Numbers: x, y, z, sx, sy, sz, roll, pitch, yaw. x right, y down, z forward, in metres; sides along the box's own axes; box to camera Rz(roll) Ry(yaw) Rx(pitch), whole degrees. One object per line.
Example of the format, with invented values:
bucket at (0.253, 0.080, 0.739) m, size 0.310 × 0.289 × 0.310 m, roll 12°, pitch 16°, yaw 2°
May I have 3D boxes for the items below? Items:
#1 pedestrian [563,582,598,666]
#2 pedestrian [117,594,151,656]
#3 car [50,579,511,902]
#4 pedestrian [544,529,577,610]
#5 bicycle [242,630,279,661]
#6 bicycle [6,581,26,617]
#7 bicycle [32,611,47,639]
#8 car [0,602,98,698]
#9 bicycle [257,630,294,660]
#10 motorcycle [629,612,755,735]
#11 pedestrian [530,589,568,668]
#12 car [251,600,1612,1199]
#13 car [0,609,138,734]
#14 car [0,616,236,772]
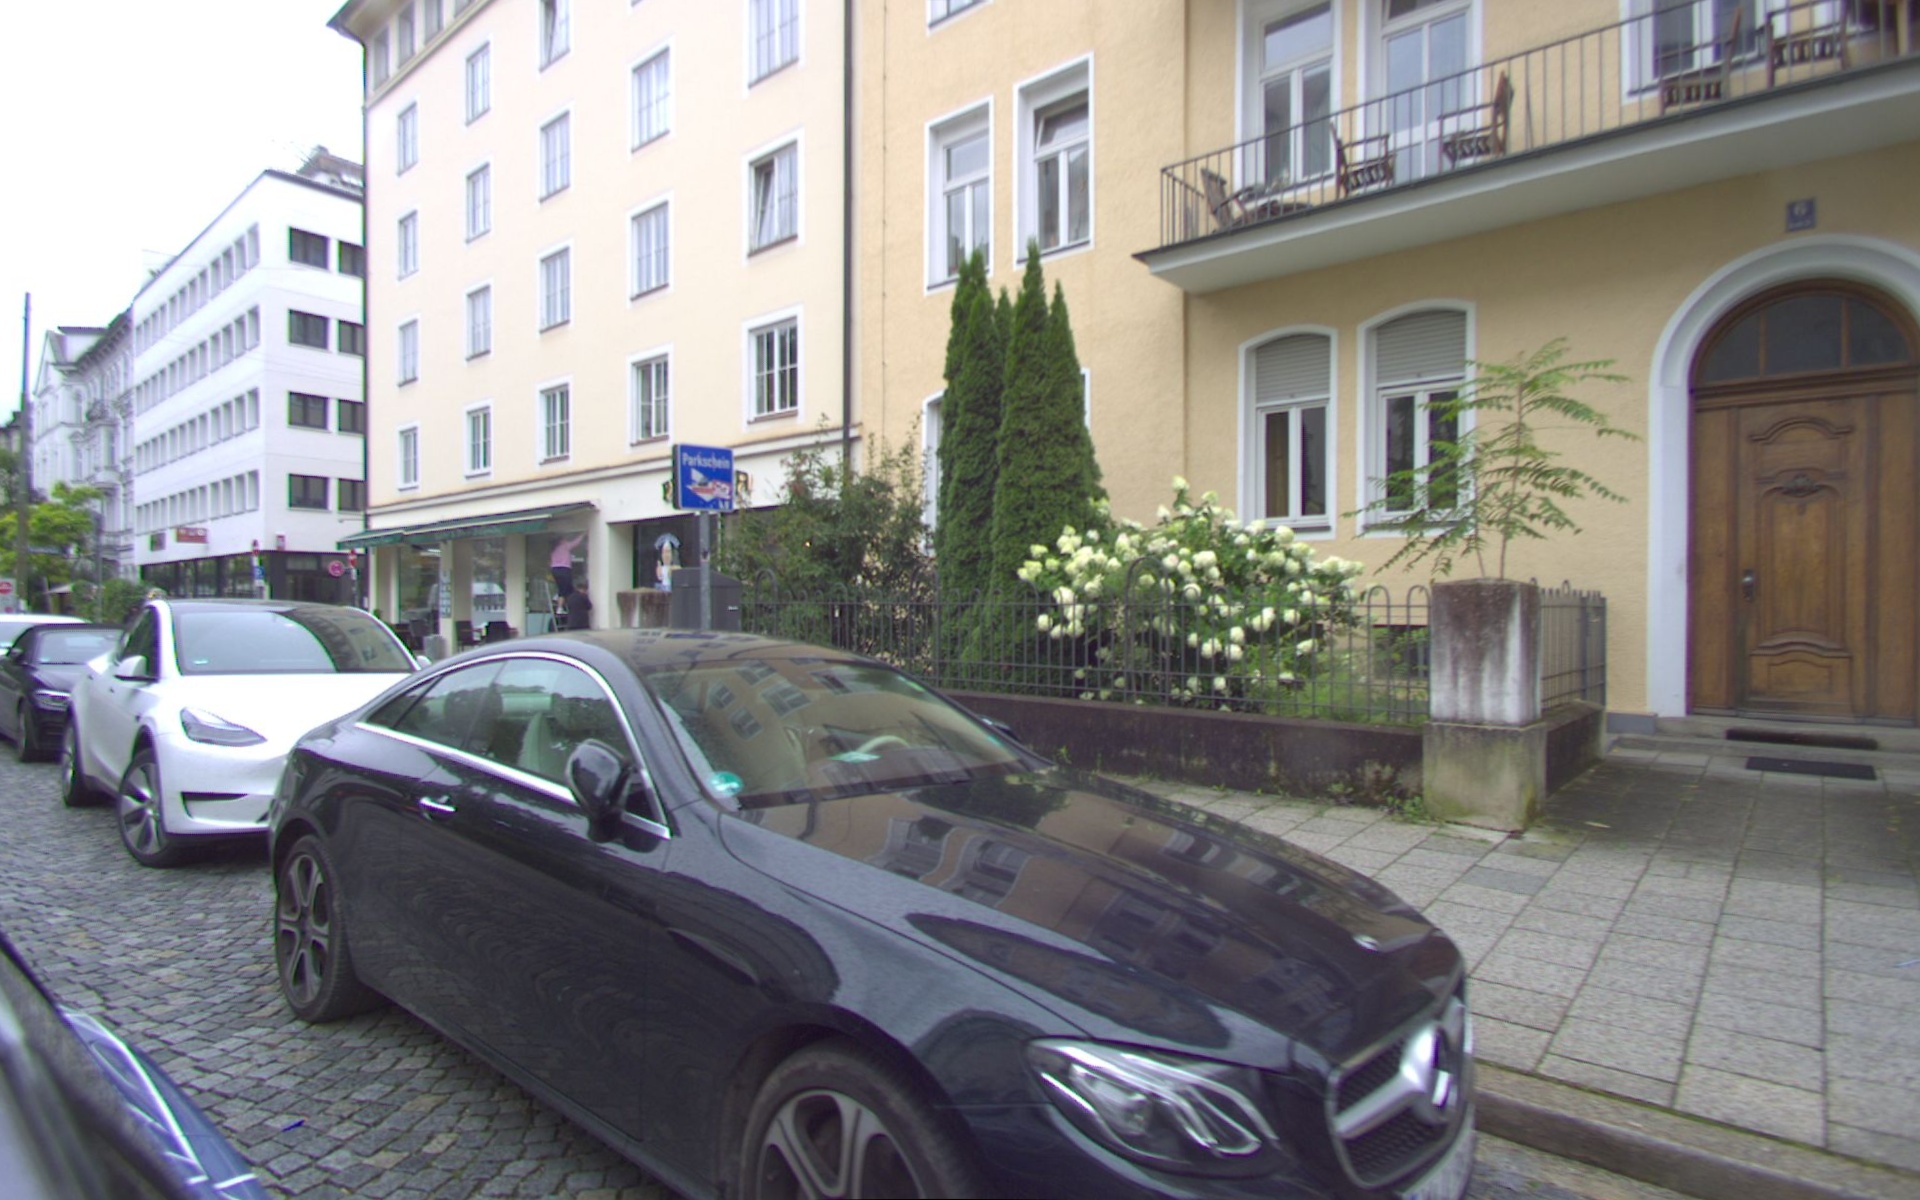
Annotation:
pedestrian at (-7.806, 0.481, 20.823) m, size 0.574 × 1.703 × 0.457 m, roll 0°, pitch 0°, yaw 41°
pedestrian at (-25.117, 0.751, 30.768) m, size 0.812 × 1.854 × 0.608 m, roll 0°, pitch 0°, yaw 35°
car at (-5.097, 0.707, 7.317) m, size 4.390 × 1.660 × 1.755 m, roll 0°, pitch 1°, yaw 42°
pedestrian at (-8.341, -0.634, 21.126) m, size 0.472 × 1.655 × 0.497 m, roll -1°, pitch 1°, yaw -45°
bicycle at (-23.379, 1.508, 33.806) m, size 1.890 × 0.975 × 0.394 m, roll 0°, pitch 1°, yaw 36°
bicycle at (-30.016, -0.026, 32.159) m, size 1.806 × 1.135 × 0.252 m, roll 0°, pitch 1°, yaw 41°
bicycle at (-40.912, 1.092, 44.964) m, size 1.911 × 1.183 × 0.356 m, roll 0°, pitch 1°, yaw 44°
car at (-17.720, 0.846, 18.777) m, size 4.744 × 1.598 × 1.834 m, roll 0°, pitch 1°, yaw 40°
bicycle at (-23.117, 1.508, 34.184) m, size 1.890 × 0.975 × 0.394 m, roll 0°, pitch 1°, yaw 36°
motorcycle at (-2.877, 0.738, 10.787) m, size 1.578 × 1.203 × 0.486 m, roll 0°, pitch 1°, yaw 41°
pedestrian at (-8.798, 0.595, 21.646) m, size 0.629 × 1.655 × 0.516 m, roll 0°, pitch 0°, yaw 41°
car at (-0.614, 0.734, 3.272) m, size 4.389 × 1.440 × 1.755 m, roll 0°, pitch 1°, yaw 41°
car at (-13.741, 0.944, 14.939) m, size 4.538 × 1.548 × 1.755 m, roll 0°, pitch 1°, yaw 41°
car at (-9.917, 0.909, 11.573) m, size 4.390 × 1.369 × 1.755 m, roll 0°, pitch 1°, yaw 42°
